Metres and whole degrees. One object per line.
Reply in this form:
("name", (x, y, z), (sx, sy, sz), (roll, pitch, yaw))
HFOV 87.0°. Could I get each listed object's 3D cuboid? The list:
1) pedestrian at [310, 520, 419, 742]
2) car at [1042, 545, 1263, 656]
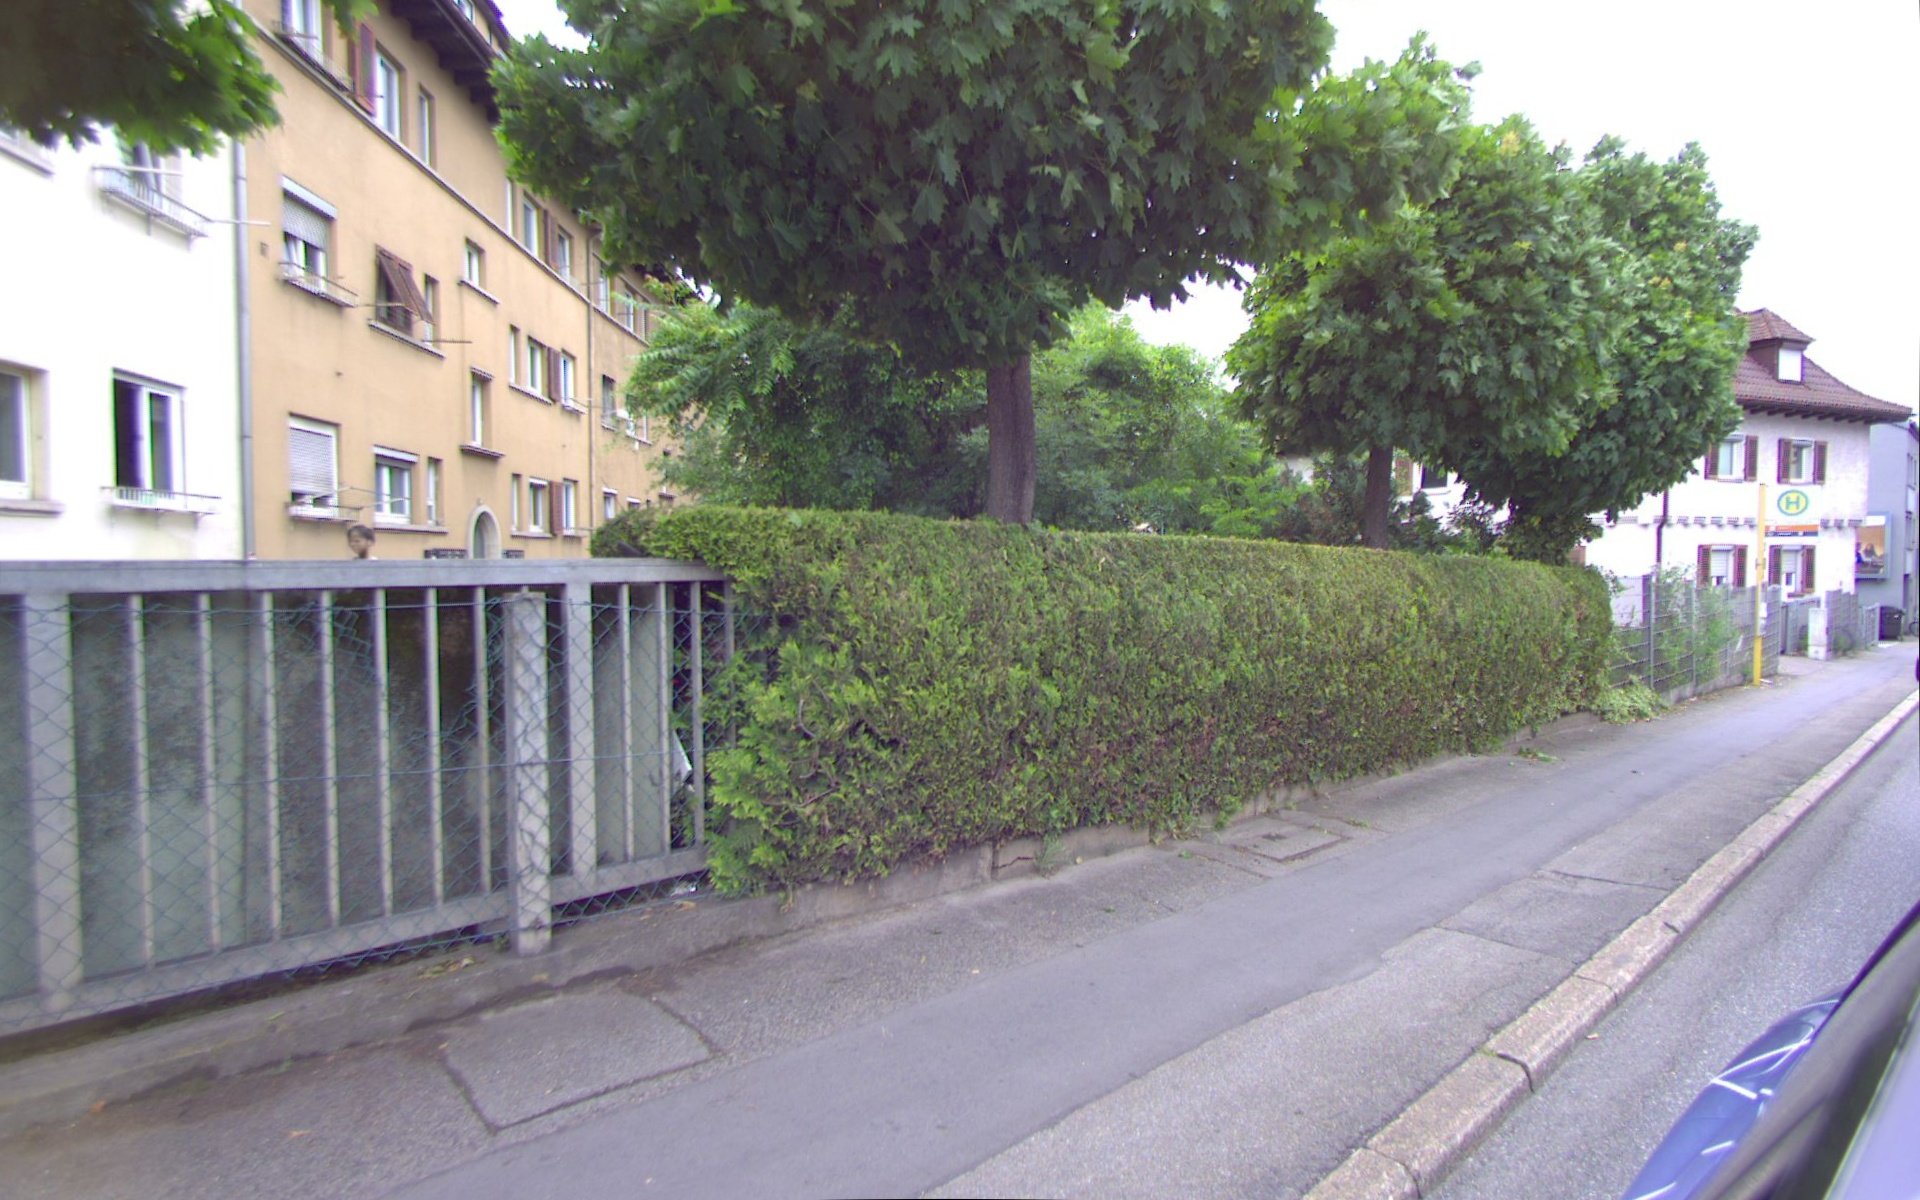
("pedestrian", (-4.944, 0.235, 8.406), (0.684, 1.759, 0.466), (0, 2, -45))
("car", (3.711, -0.011, 20.095), (3.923, 2.039, 2.001), (1, 1, -1))
